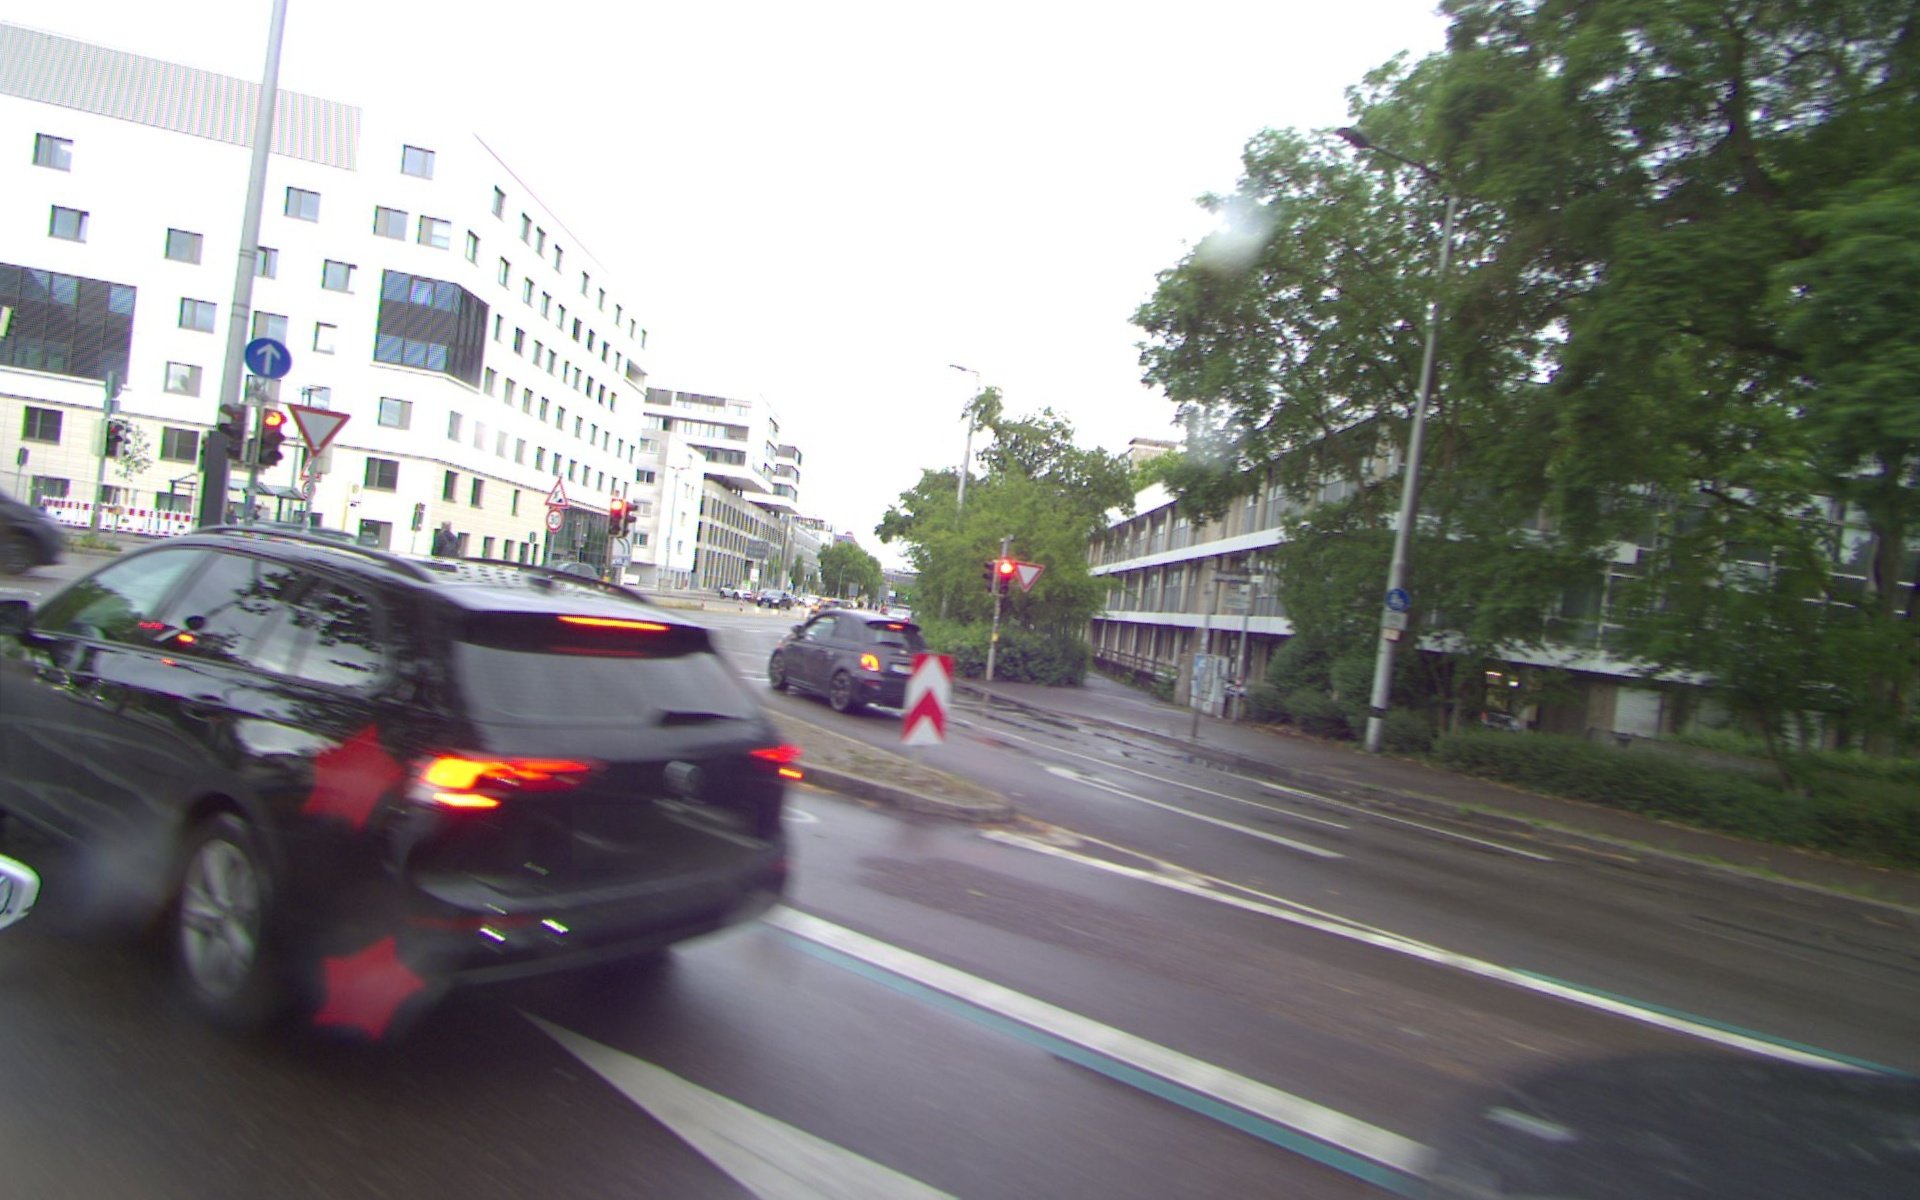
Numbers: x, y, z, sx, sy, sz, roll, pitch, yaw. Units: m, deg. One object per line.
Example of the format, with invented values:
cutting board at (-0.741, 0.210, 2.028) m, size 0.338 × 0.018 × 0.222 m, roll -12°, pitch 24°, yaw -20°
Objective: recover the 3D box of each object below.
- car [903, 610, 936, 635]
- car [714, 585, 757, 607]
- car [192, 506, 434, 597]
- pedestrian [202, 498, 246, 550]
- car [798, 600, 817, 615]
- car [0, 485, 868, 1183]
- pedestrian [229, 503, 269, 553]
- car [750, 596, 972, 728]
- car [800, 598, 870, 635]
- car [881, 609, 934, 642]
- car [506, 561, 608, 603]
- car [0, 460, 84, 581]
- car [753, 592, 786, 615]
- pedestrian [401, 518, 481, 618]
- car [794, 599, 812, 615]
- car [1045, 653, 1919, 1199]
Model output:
car at (-3.331, 1.901, 84.116) m, size 1.832 × 1.669 × 4.783 m, roll 7°, pitch -3°, yaw 7°
car at (-22.543, -0.421, 101.018) m, size 4.003 × 1.575 × 1.961 m, roll 7°, pitch -2°, yaw 39°
car at (-16.421, -1.168, 25.917) m, size 1.963 × 1.693 × 4.971 m, roll 7°, pitch 0°, yaw 20°
pedestrian at (-29.228, -3.001, 39.948) m, size 0.808 × 1.861 × 0.955 m, roll 6°, pitch -2°, yaw 21°
car at (-17.082, 0.792, 112.821) m, size 1.966 × 1.394 × 4.382 m, roll 8°, pitch -1°, yaw -8°
car at (-2.738, 0.474, 4.304) m, size 4.438 × 1.483 × 1.672 m, roll 8°, pitch 0°, yaw 32°
pedestrian at (-30.049, -3.032, 42.515) m, size 0.941 × 1.957 × 1.001 m, roll 6°, pitch -2°, yaw 42°
car at (-1.711, 0.910, 16.034) m, size 1.849 × 1.467 × 3.967 m, roll 8°, pitch -1°, yaw -31°
car at (-6.327, 0.879, 51.301) m, size 1.833 × 1.437 × 4.004 m, roll 6°, pitch -3°, yaw 19°
car at (-3.381, 1.691, 65.888) m, size 1.833 × 1.669 × 4.783 m, roll 7°, pitch -3°, yaw 17°
car at (-19.128, -0.825, 47.918) m, size 1.963 × 1.394 × 4.389 m, roll 8°, pitch -1°, yaw 20°
car at (-16.528, -1.470, 14.982) m, size 1.963 × 1.831 × 4.786 m, roll 8°, pitch 0°, yaw 22°
car at (-15.172, 0.333, 80.346) m, size 1.765 × 1.460 × 4.002 m, roll 8°, pitch -2°, yaw -1°
pedestrian at (-10.840, -0.657, 21.014) m, size 1.009 × 1.913 × 0.830 m, roll 6°, pitch -2°, yaw 24°
car at (-19.930, 0.861, 127.938) m, size 1.966 × 1.684 × 4.382 m, roll 8°, pitch -1°, yaw -8°
car at (2.574, 1.132, 0.490) m, size 4.848 × 1.462 × 1.883 m, roll 7°, pitch -2°, yaw 32°
